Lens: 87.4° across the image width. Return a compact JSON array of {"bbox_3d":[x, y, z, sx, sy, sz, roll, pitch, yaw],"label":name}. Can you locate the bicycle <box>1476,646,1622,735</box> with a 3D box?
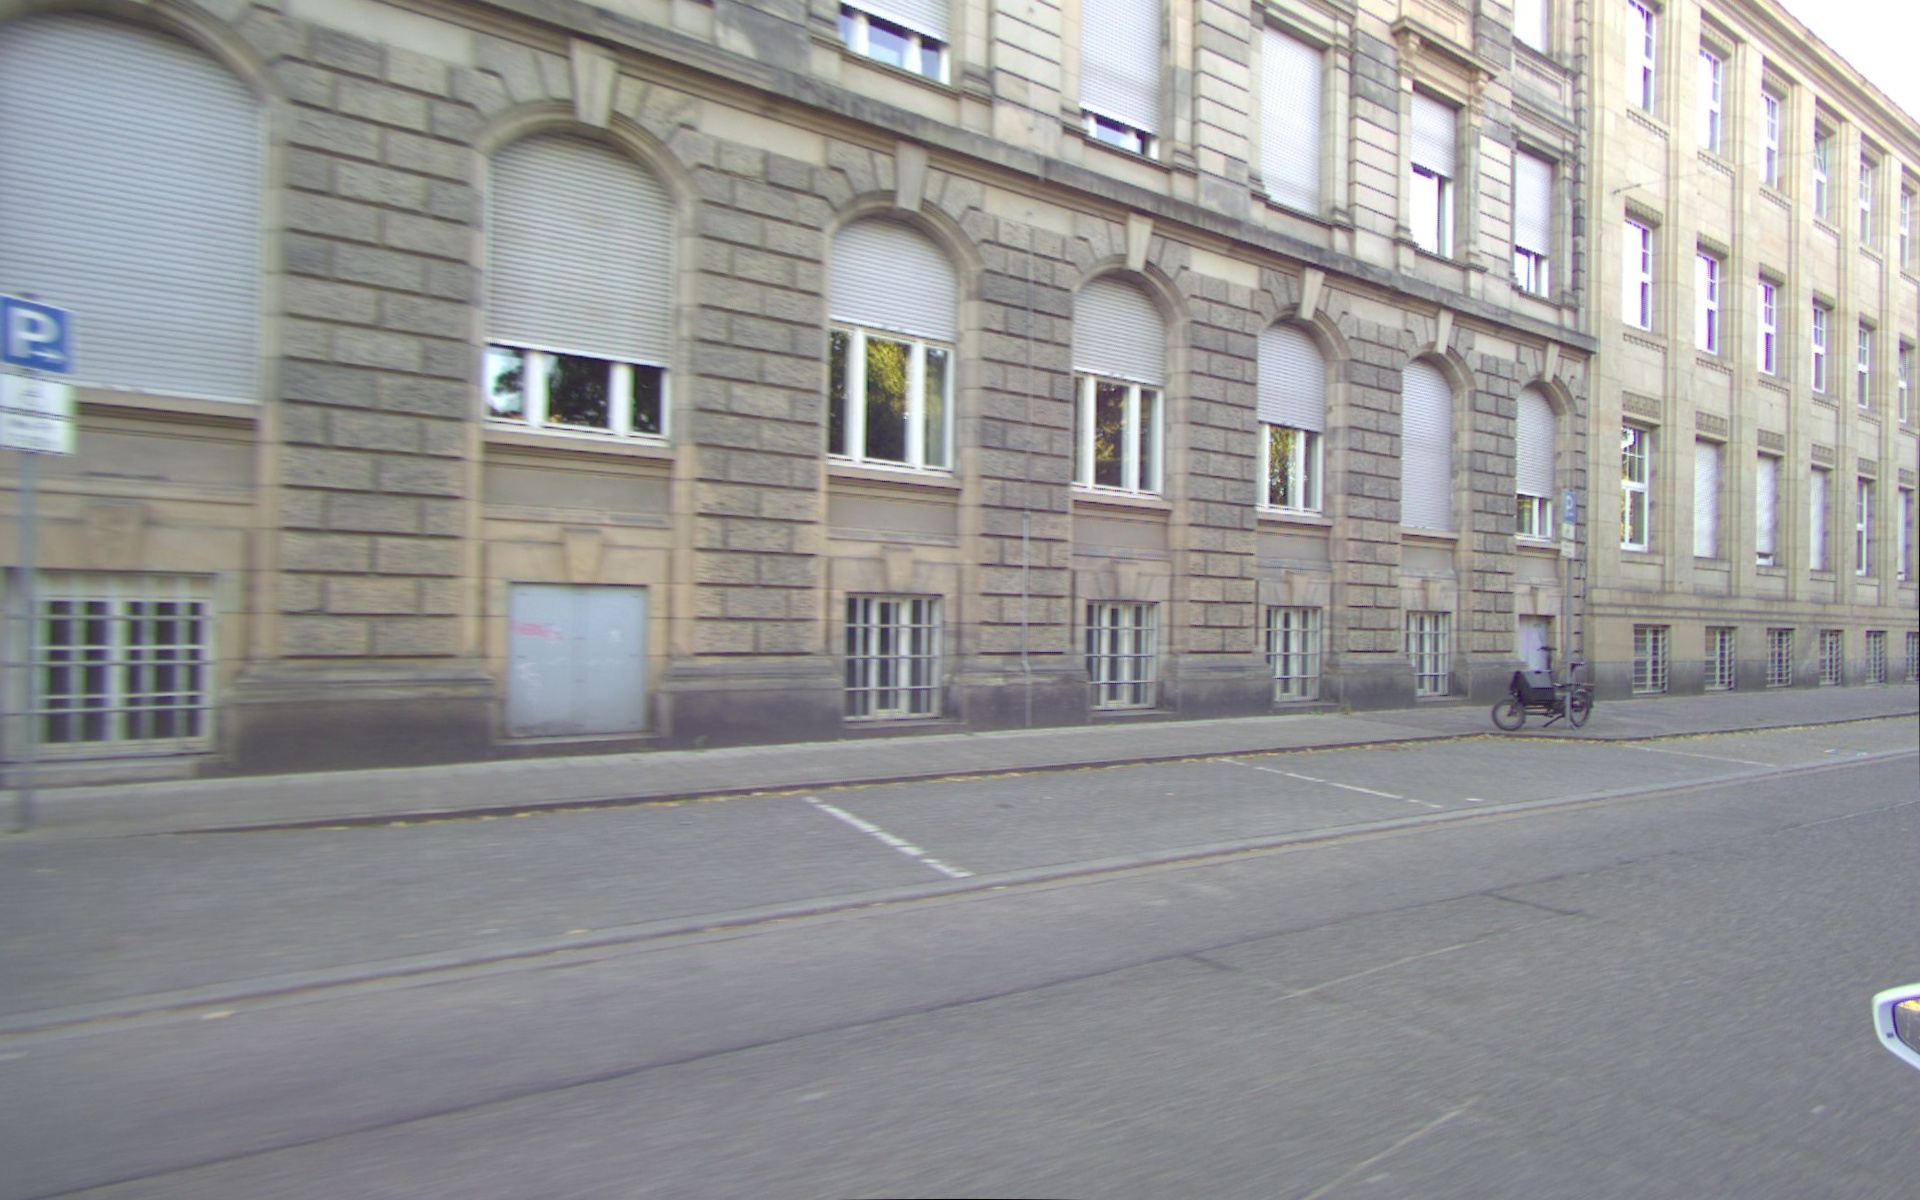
[{"bbox_3d":[8.197,1.223,13.977,1.958,1.116,0.849,1,1,-29],"label":"bicycle"}]
